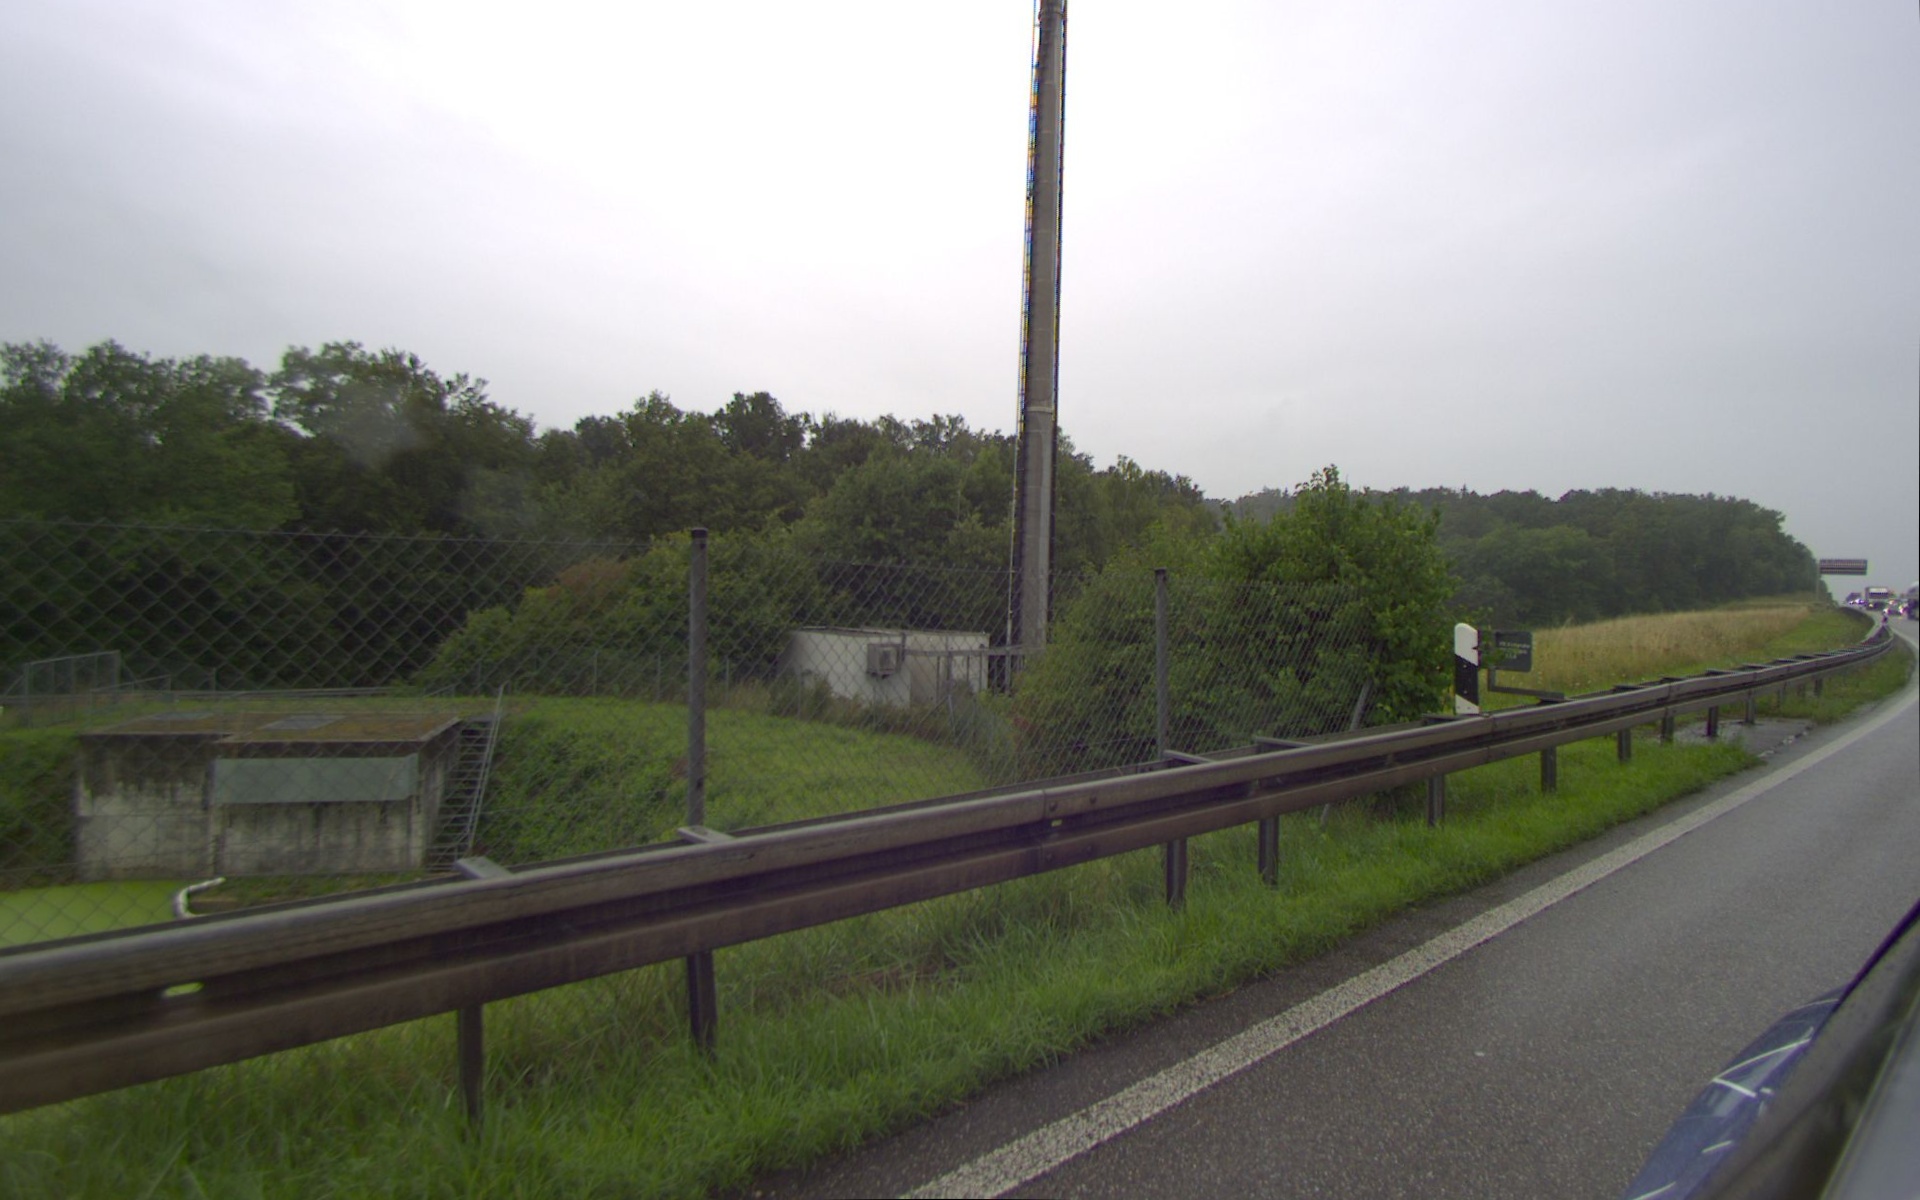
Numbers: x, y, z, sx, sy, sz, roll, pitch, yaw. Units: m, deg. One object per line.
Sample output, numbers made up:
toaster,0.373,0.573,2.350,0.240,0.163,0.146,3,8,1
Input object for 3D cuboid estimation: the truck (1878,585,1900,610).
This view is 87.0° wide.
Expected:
truck,159.074,-0.387,173.271,5.144,4.198,2.591,1,-1,-45
